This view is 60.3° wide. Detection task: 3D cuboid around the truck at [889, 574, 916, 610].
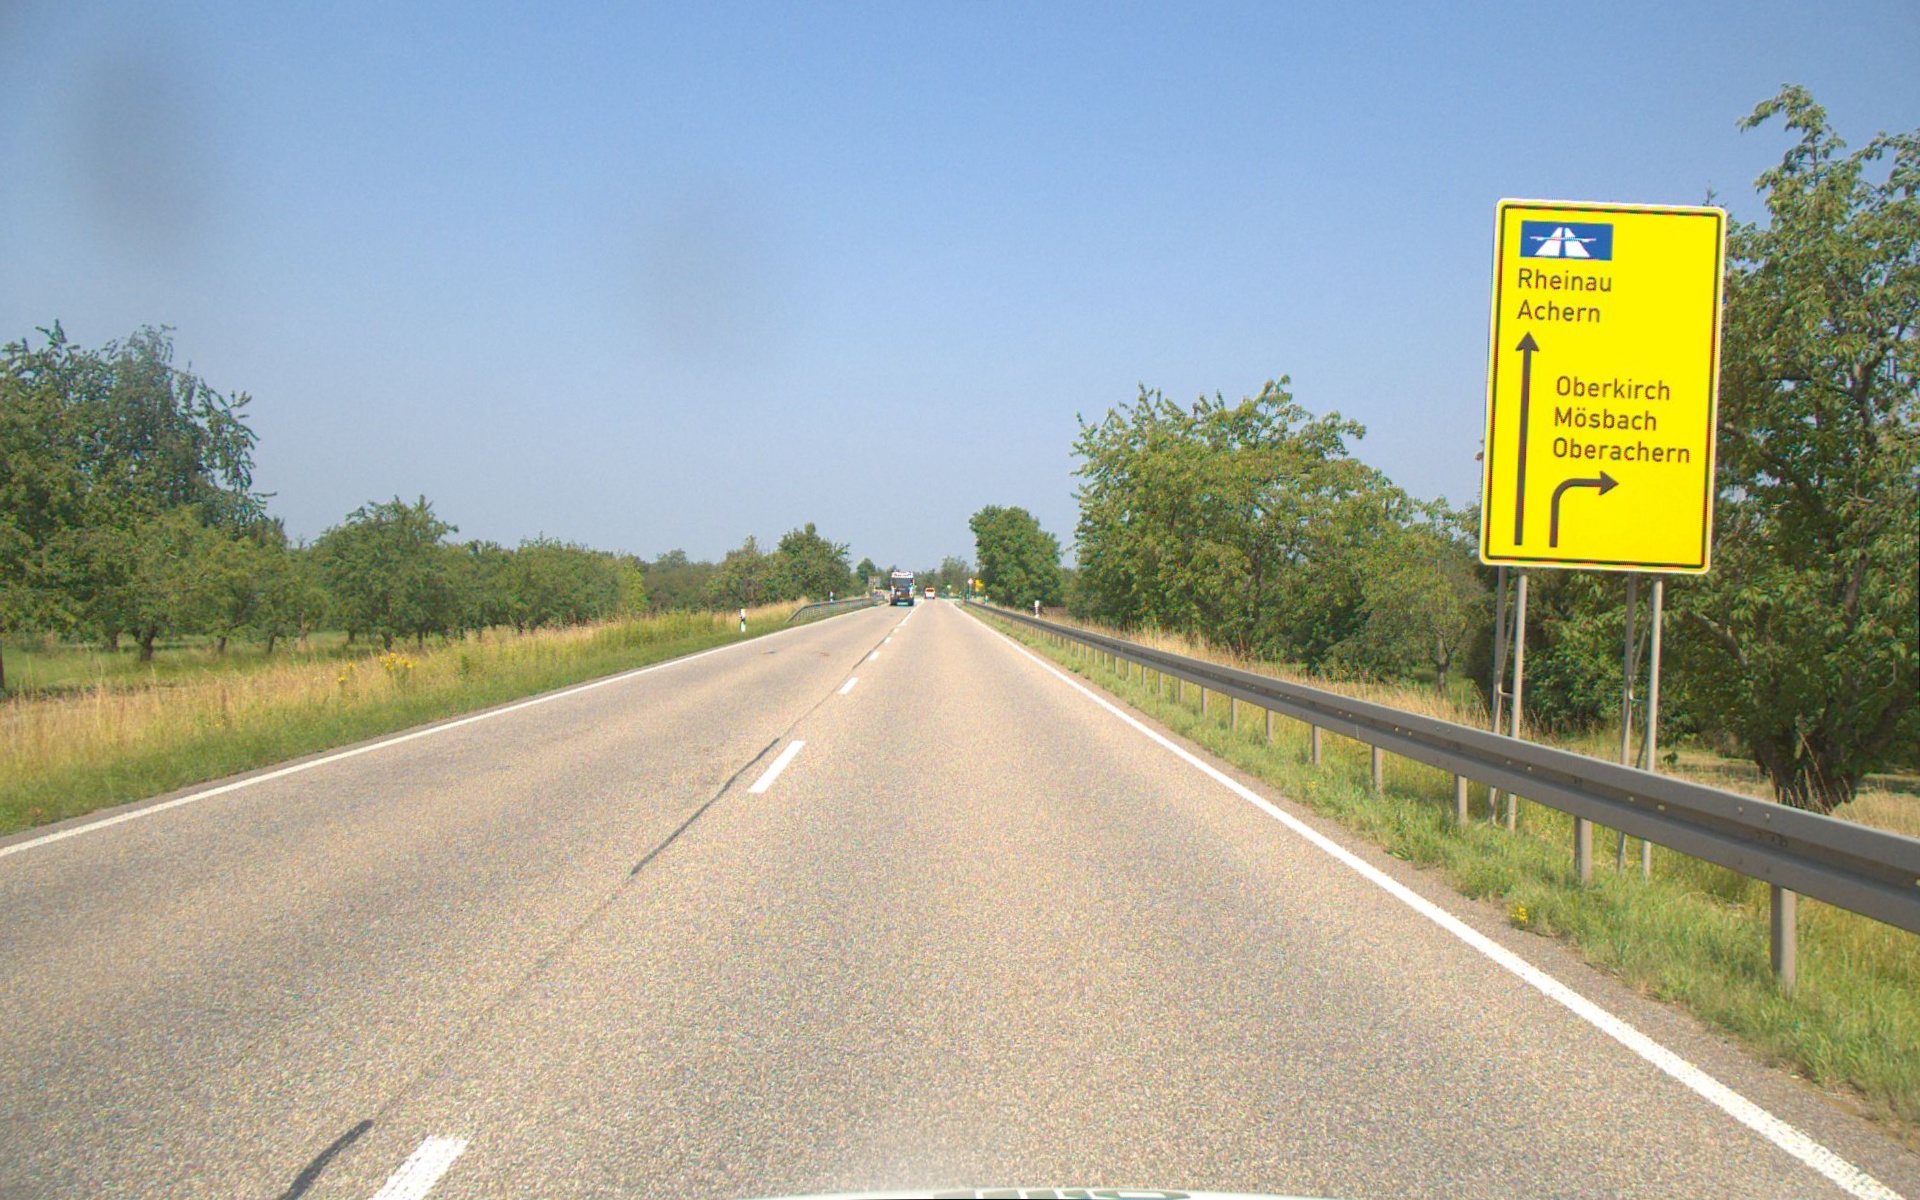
[{"bbox_3d":[-6.119,-0.823,177.445,2.673,3.736,9.380,1,0,-1],"label":"truck"}]
